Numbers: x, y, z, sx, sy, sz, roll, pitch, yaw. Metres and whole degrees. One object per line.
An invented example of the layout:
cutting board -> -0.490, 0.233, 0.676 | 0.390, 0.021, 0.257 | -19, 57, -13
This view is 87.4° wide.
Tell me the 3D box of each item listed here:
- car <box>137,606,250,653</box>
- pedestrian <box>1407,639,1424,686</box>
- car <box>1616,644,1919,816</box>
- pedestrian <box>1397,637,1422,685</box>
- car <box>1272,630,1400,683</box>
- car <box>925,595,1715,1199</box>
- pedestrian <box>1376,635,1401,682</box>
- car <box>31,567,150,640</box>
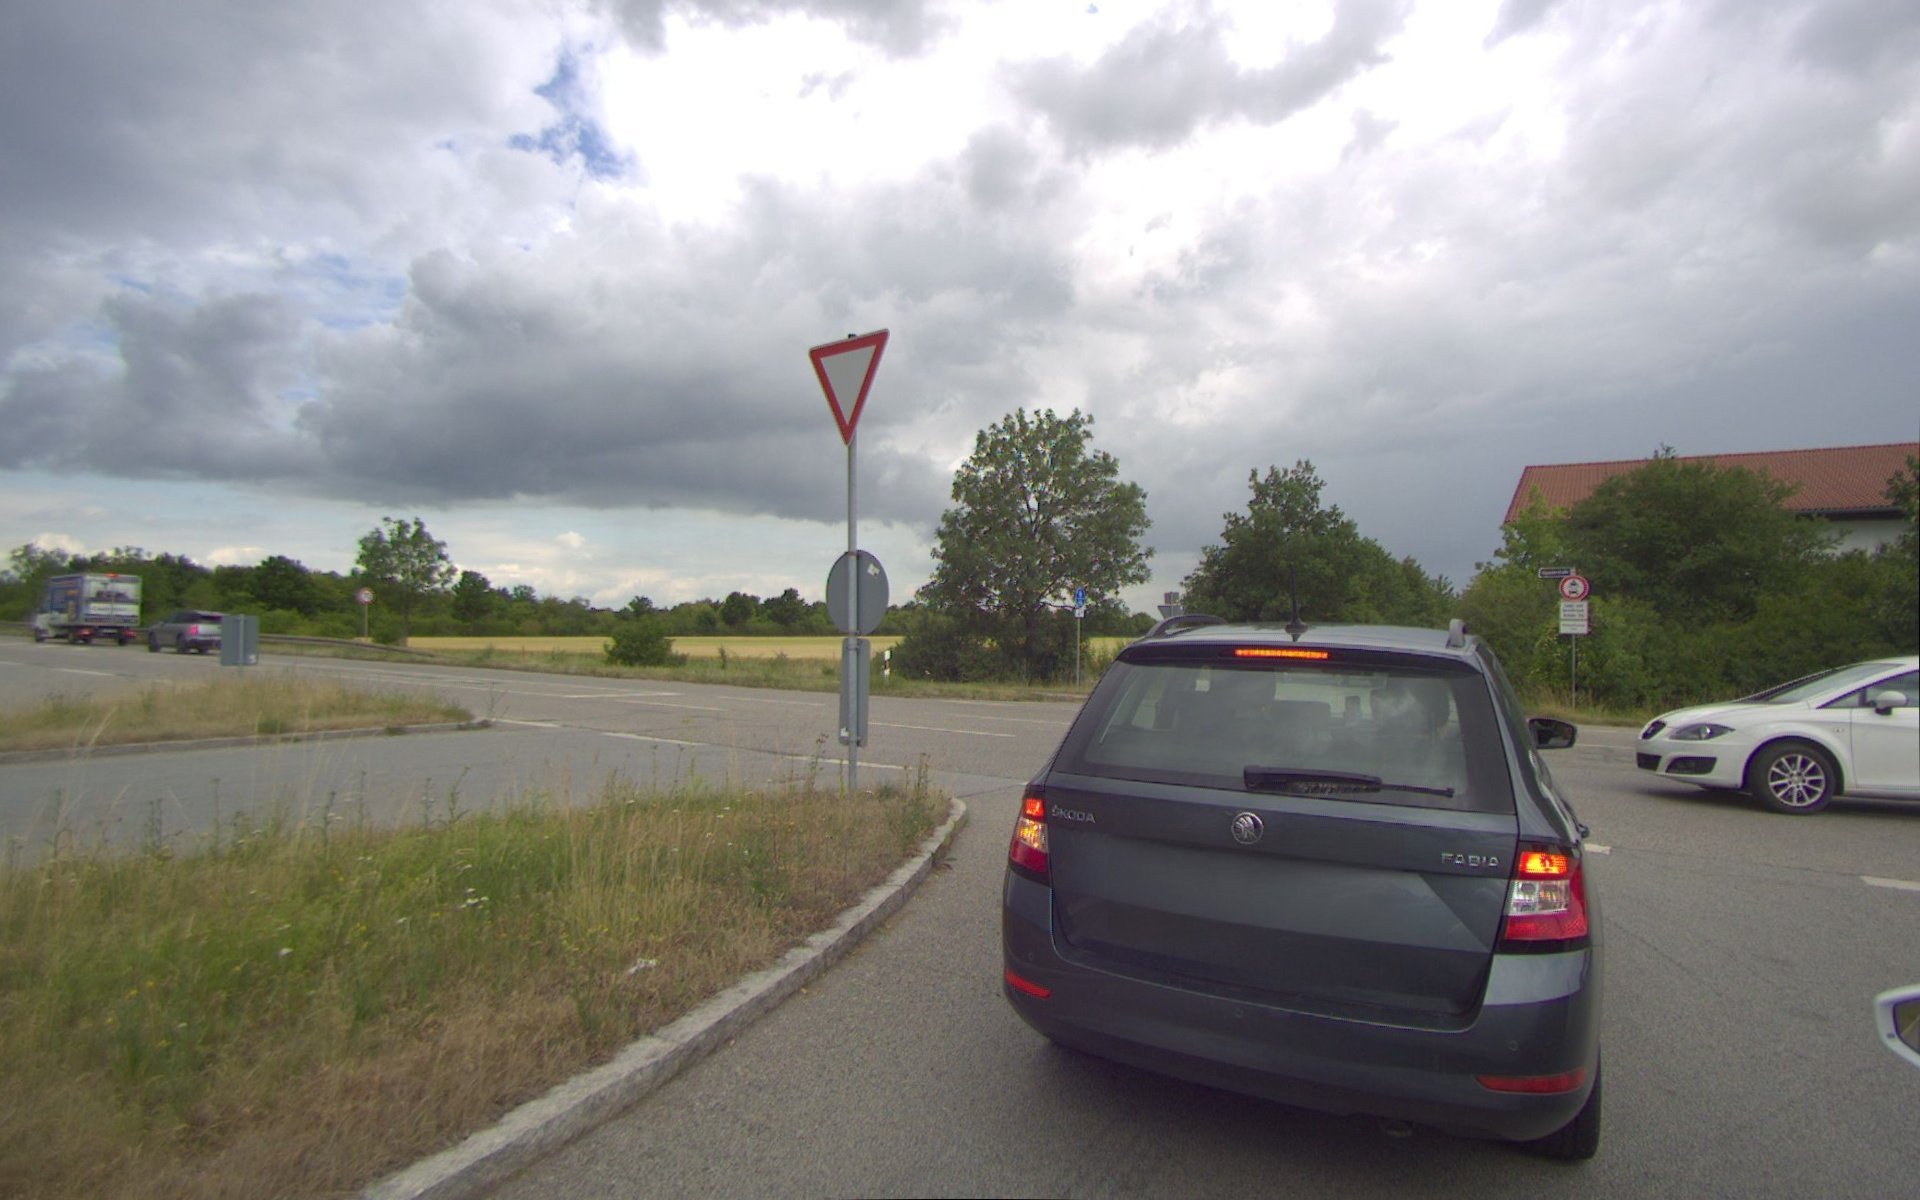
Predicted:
car -> -29.362, 1.138, 38.452 | 4.187, 1.644, 1.996 | -1, -4, 32
pedestrian -> 17.334, 2.356, 38.212 | 0.483, 1.769, 0.641 | -1, -1, 36
car -> 8.766, 1.157, 9.243 | 4.228, 1.426, 1.821 | 0, -3, 20
pedestrian -> 16.497, 2.229, 36.847 | 0.714, 1.746, 0.789 | 0, -2, 36
car -> 14.557, 2.156, 39.284 | 2.078, 1.910, 5.084 | 0, -2, -16
car -> 1.577, 0.791, 4.154 | 1.687, 1.466, 4.113 | 1, -1, 26
pedestrian -> 16.306, 2.220, 38.212 | 0.693, 1.746, 0.729 | -1, -2, 40
car -> -40.309, 0.228, 46.532 | 6.446, 3.068, 2.336 | -1, -4, 33
